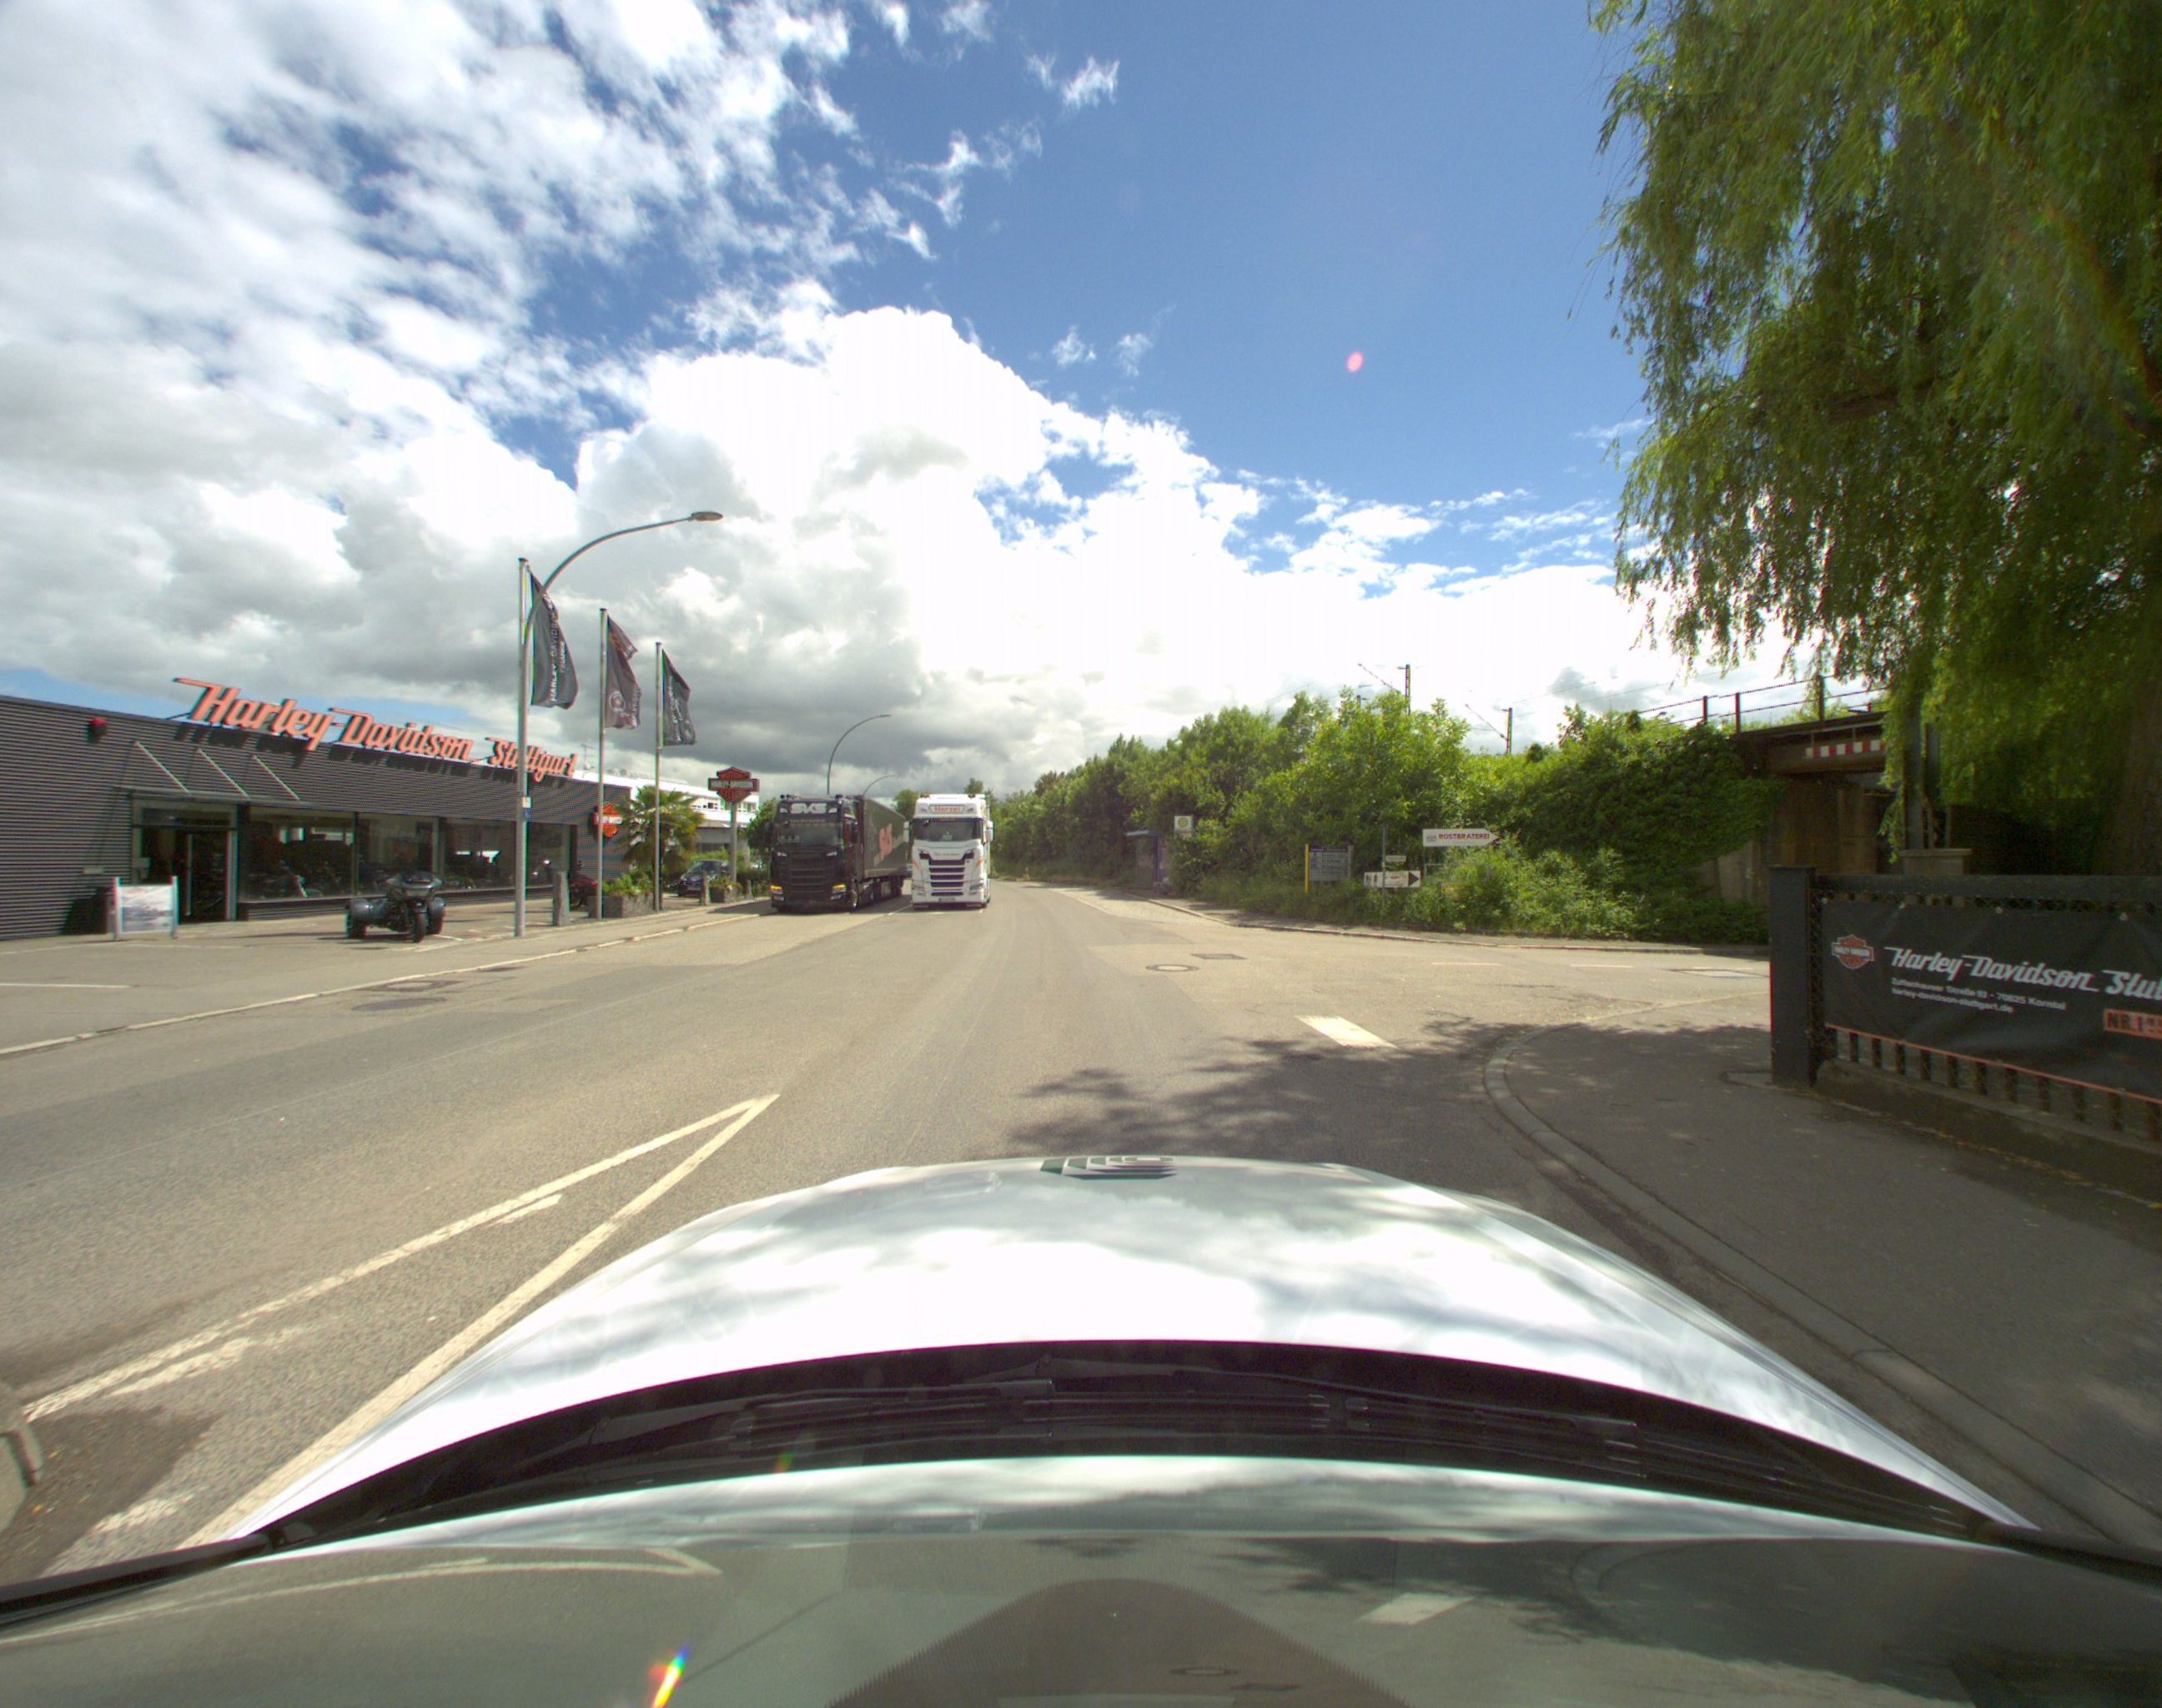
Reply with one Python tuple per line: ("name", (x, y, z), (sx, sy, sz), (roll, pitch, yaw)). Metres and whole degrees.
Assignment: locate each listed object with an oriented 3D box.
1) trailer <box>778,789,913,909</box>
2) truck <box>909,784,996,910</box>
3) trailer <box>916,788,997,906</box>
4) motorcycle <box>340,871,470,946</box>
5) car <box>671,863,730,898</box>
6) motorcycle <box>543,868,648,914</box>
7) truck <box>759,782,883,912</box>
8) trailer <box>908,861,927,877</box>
("trailer", (-9.569, -0.049, 35.410), (2.795, 4.053, 15.523), (1, -1, -6))
("truck", (-4.513, -0.179, 29.196), (2.769, 4.119, 4.973), (1, -1, -7))
("trailer", (-5.346, -0.141, 36.407), (2.769, 4.145, 15.310), (1, -1, -7))
("motorcycle", (-12.963, 0.982, 15.599), (2.421, 1.292, 1.475), (0, -1, 40))
("car", (-15.453, 1.074, 33.177), (1.040, 1.364, 2.688), (0, -1, 2))
("motorcycle", (-14.315, 1.078, 24.057), (2.555, 1.306, 0.848), (0, -1, 0))
("truck", (-8.921, -0.150, 28.743), (2.795, 4.053, 6.487), (1, -1, -6))
("trailer", (-15.628, 1.414, 77.668), (1.649, 1.423, 3.982), (-1, 0, -13))
